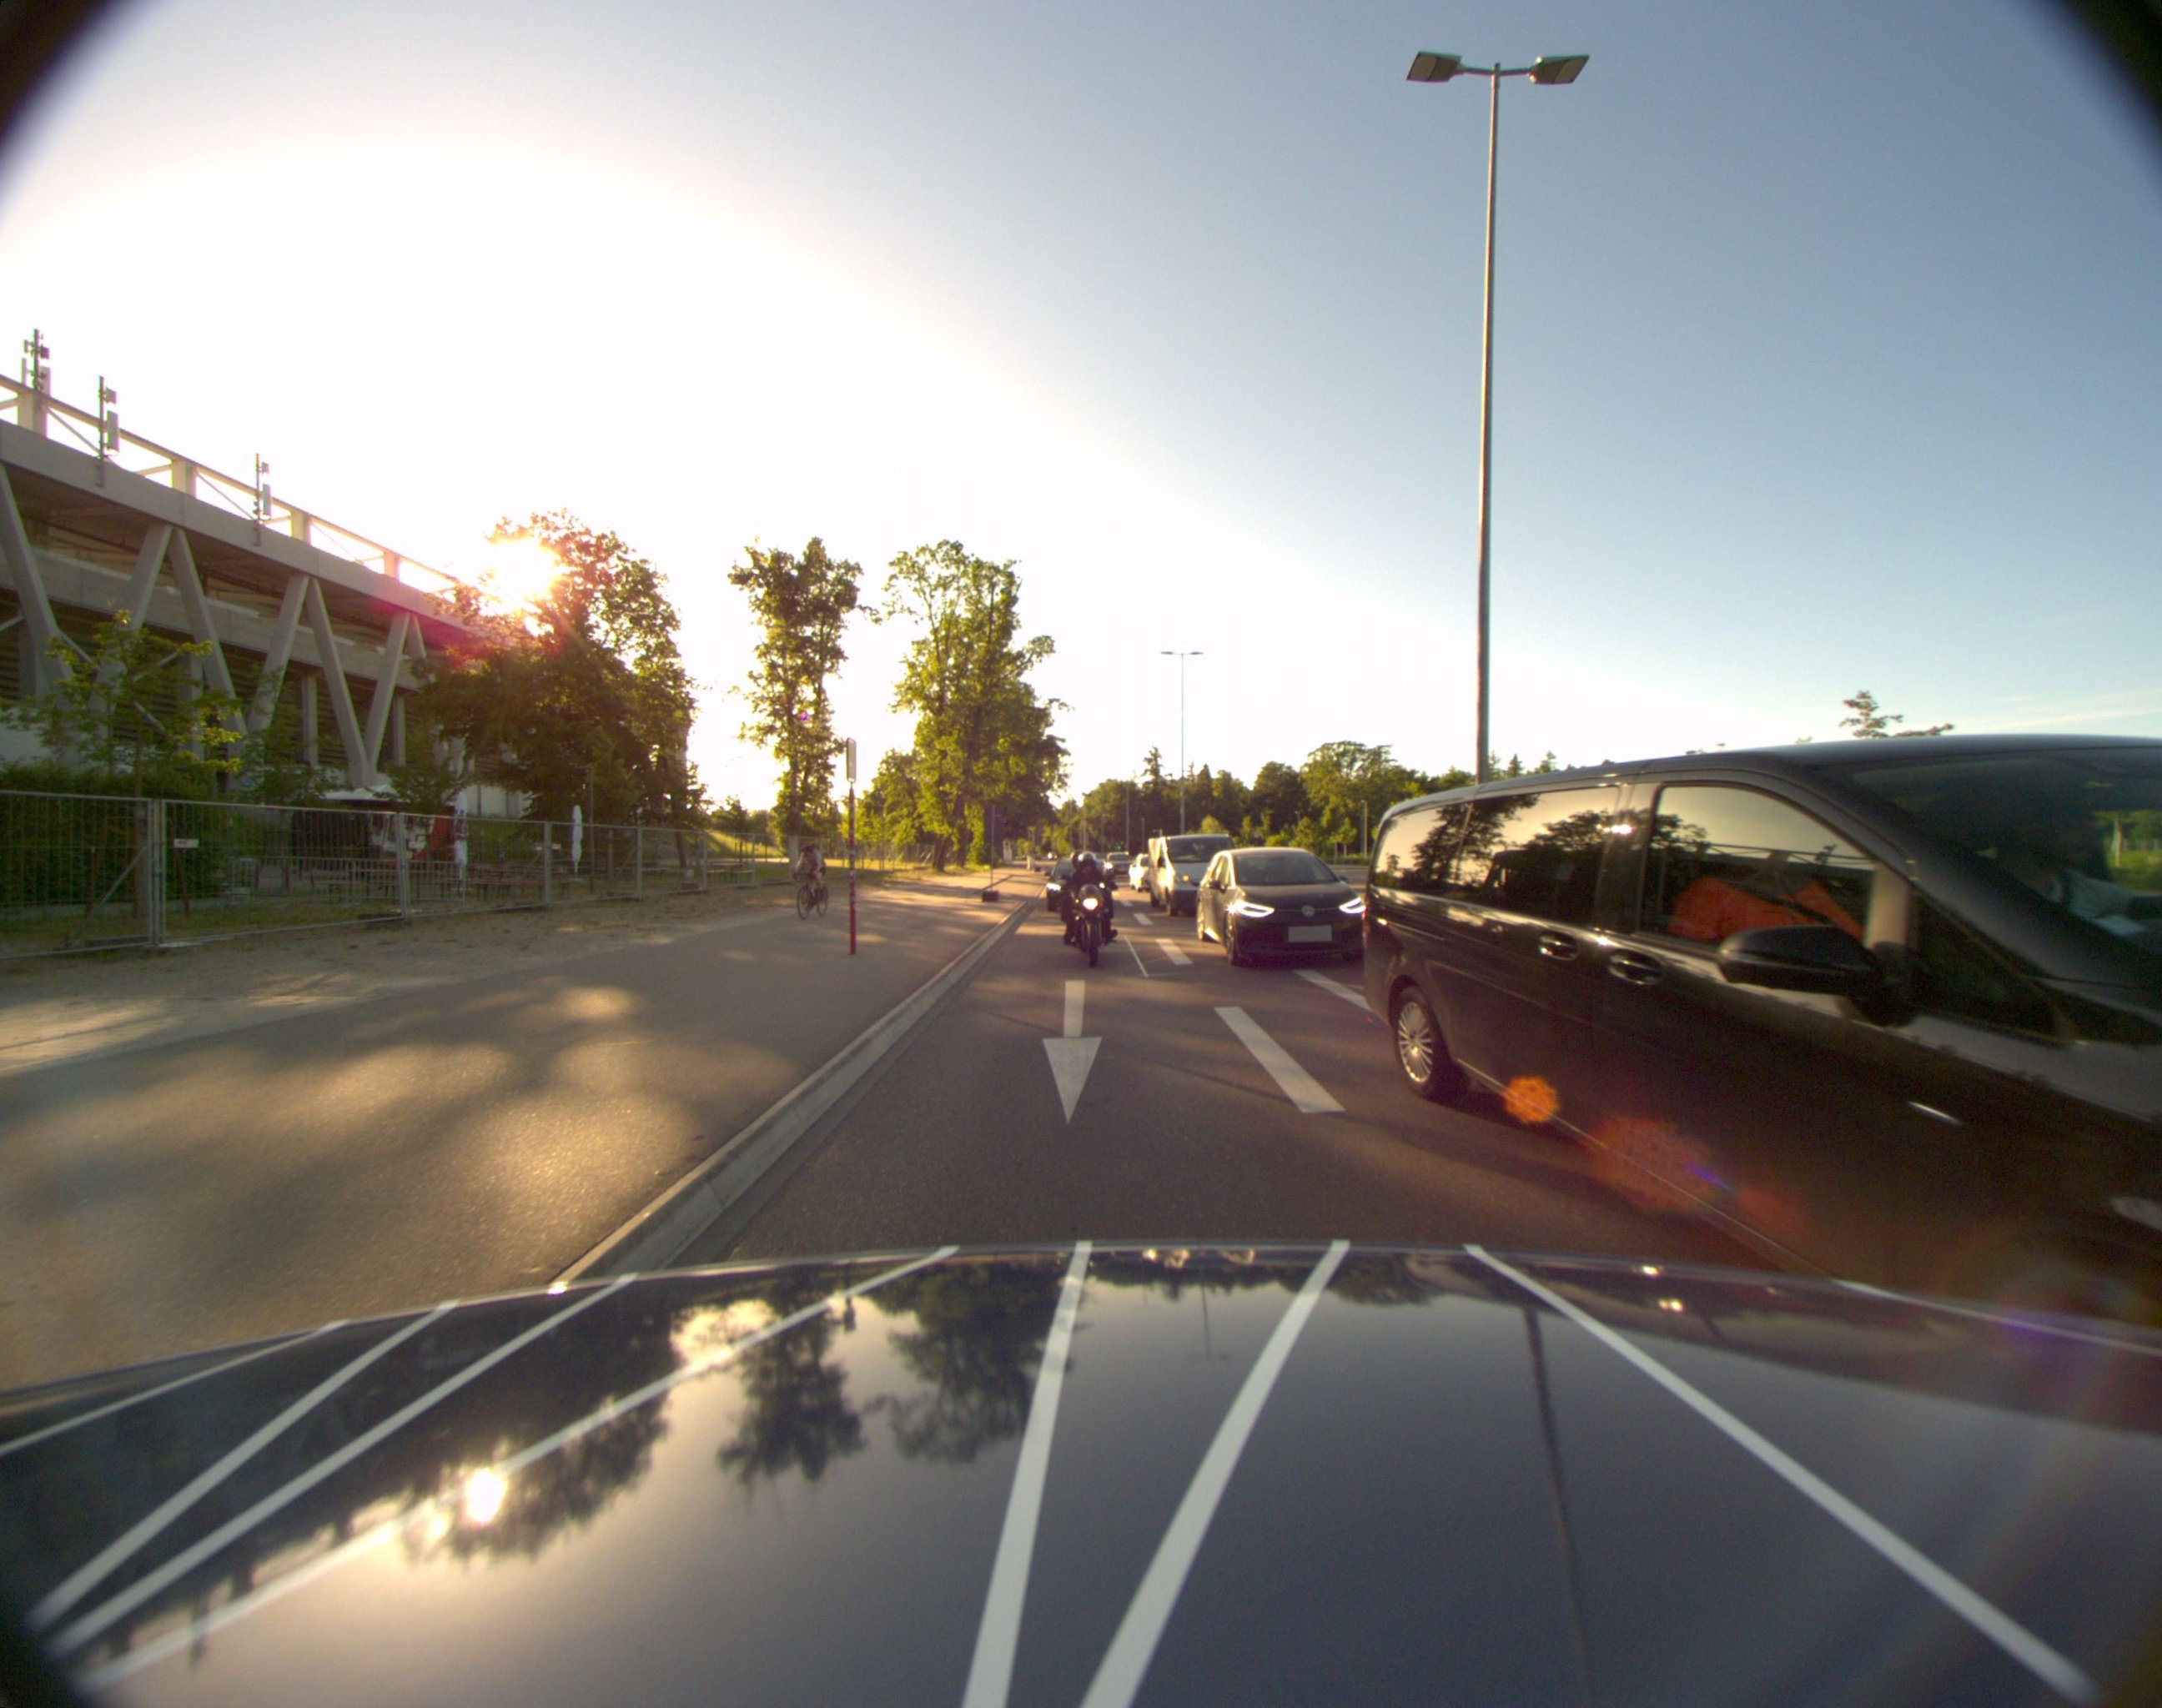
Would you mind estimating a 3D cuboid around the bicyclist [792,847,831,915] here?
[{"bbox_3d":[-5.945,0.584,16.805,0.521,1.460,0.861,2,1,1],"label":"bicyclist"}]

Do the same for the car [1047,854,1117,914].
[{"bbox_3d":[0.015,0.812,23.056,1.867,1.538,4.795,-2,0,0],"label":"car"}]

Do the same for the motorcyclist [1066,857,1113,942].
[{"bbox_3d":[0.133,0.695,12.000,0.671,1.257,0.826,-2,1,1],"label":"motorcyclist"}]

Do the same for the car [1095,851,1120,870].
[{"bbox_3d":[2.231,0.534,65.402,1.896,1.479,4.639,-2,1,0],"label":"car"}]

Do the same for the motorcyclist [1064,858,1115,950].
[{"bbox_3d":[0.128,0.705,11.127,0.671,1.257,0.826,-2,1,1],"label":"motorcyclist"}]

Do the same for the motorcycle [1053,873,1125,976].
[{"bbox_3d":[0.127,0.978,11.552,0.916,1.243,2.962,-2,0,1],"label":"motorcycle"}]

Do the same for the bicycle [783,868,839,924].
[{"bbox_3d":[-5.957,0.899,16.875,0.555,1.131,1.864,1,1,1],"label":"bicycle"}]

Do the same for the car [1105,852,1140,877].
[{"bbox_3d":[2.595,0.646,48.508,1.896,1.389,4.639,-2,1,0],"label":"car"}]

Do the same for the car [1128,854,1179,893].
[{"bbox_3d":[2.896,0.734,31.220,1.605,1.389,4.639,-2,1,0],"label":"car"}]

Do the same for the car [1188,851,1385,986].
[{"bbox_3d":[2.763,0.766,11.180,1.736,1.560,4.103,-2,0,0],"label":"car"}]

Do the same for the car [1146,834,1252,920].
[{"bbox_3d":[2.897,0.508,19.794,1.867,1.882,5.067,-2,0,0],"label":"car"}]

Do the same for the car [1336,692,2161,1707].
[{"bbox_3d":[2.819,0.615,2.870,1.885,1.862,5.234,-2,0,0],"label":"car"}]
